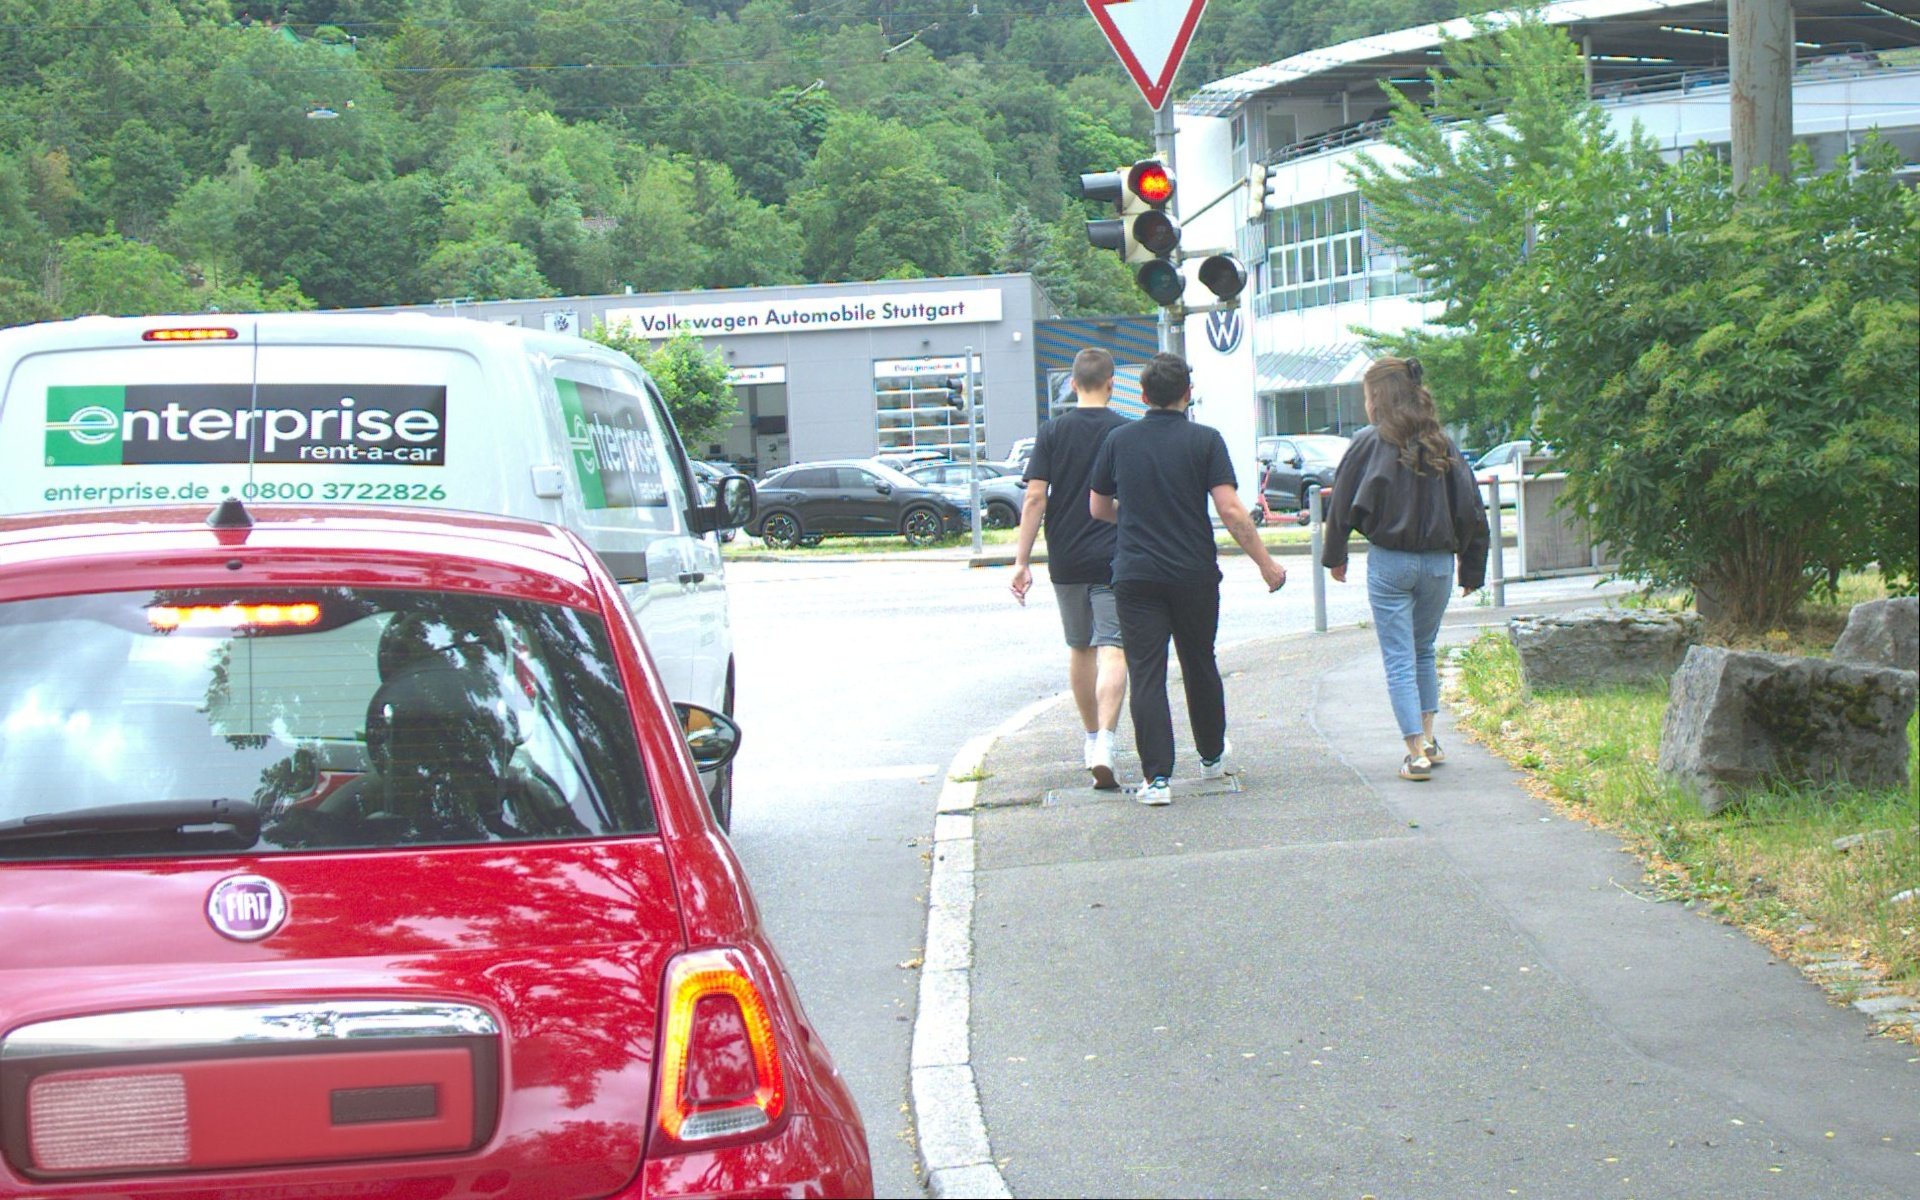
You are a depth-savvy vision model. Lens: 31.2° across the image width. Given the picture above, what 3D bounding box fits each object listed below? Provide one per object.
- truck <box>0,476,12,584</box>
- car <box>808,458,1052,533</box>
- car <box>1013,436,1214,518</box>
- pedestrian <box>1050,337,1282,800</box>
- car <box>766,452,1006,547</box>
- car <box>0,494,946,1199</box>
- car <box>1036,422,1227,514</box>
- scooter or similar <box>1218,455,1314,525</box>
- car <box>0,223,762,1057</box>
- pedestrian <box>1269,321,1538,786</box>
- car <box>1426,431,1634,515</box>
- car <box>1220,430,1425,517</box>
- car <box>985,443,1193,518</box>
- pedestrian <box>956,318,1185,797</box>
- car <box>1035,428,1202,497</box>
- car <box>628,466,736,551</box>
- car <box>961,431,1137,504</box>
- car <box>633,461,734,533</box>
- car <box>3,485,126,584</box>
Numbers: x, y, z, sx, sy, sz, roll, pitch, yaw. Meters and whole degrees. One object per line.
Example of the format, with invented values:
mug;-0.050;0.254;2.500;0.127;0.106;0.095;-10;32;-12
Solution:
truck;-23.887;-1.424;76.090;5.183;2.385;2.000;-4;3;-28
car;-0.605;-2.147;70.531;4.674;1.323;1.775;-2;2;14
car;3.745;-3.018;84.197;4.796;1.796;1.776;-2;2;3
pedestrian;0.808;-0.130;13.283;0.693;1.708;0.788;-2;2;13
car;-1.315;-1.798;61.387;3.871;1.495;1.774;-2;2;17
car;-1.160;0.583;5.549;1.638;1.451;3.432;-2;2;-11
car;4.444;-3.418;89.131;4.796;2.149;2.234;-2;2;3
scooter or similar;5.541;-1.994;62.301;1.668;1.173;0.467;-2;2;7
car;-1.898;0.023;11.353;1.989;2.099;4.762;-3;2;2
pedestrian;1.728;-0.192;13.469;0.693;1.733;0.788;-4;2;-19
car;11.046;-2.456;66.850;1.770;1.495;4.022;-4;3;-31
car;6.817;-2.374;64.974;1.770;1.495;3.881;-4;3;-33
car;3.036;-2.832;81.070;4.796;1.528;1.776;-2;2;3
pedestrian;0.456;-0.178;13.869;0.693;1.850;0.788;-2;2;13
car;4.664;-4.044;101.098;4.796;1.796;1.776;-2;2;3
car;-6.351;-2.122;78.840;1.993;1.809;4.000;-3;2;1
car;2.493;-3.718;96.210;4.796;1.796;1.776;-2;2;3
car;-6.312;-2.379;78.806;1.770;1.528;4.091;-2;2;2
car;-17.779;-1.340;68.413;1.859;1.811;4.404;-3;2;-9
